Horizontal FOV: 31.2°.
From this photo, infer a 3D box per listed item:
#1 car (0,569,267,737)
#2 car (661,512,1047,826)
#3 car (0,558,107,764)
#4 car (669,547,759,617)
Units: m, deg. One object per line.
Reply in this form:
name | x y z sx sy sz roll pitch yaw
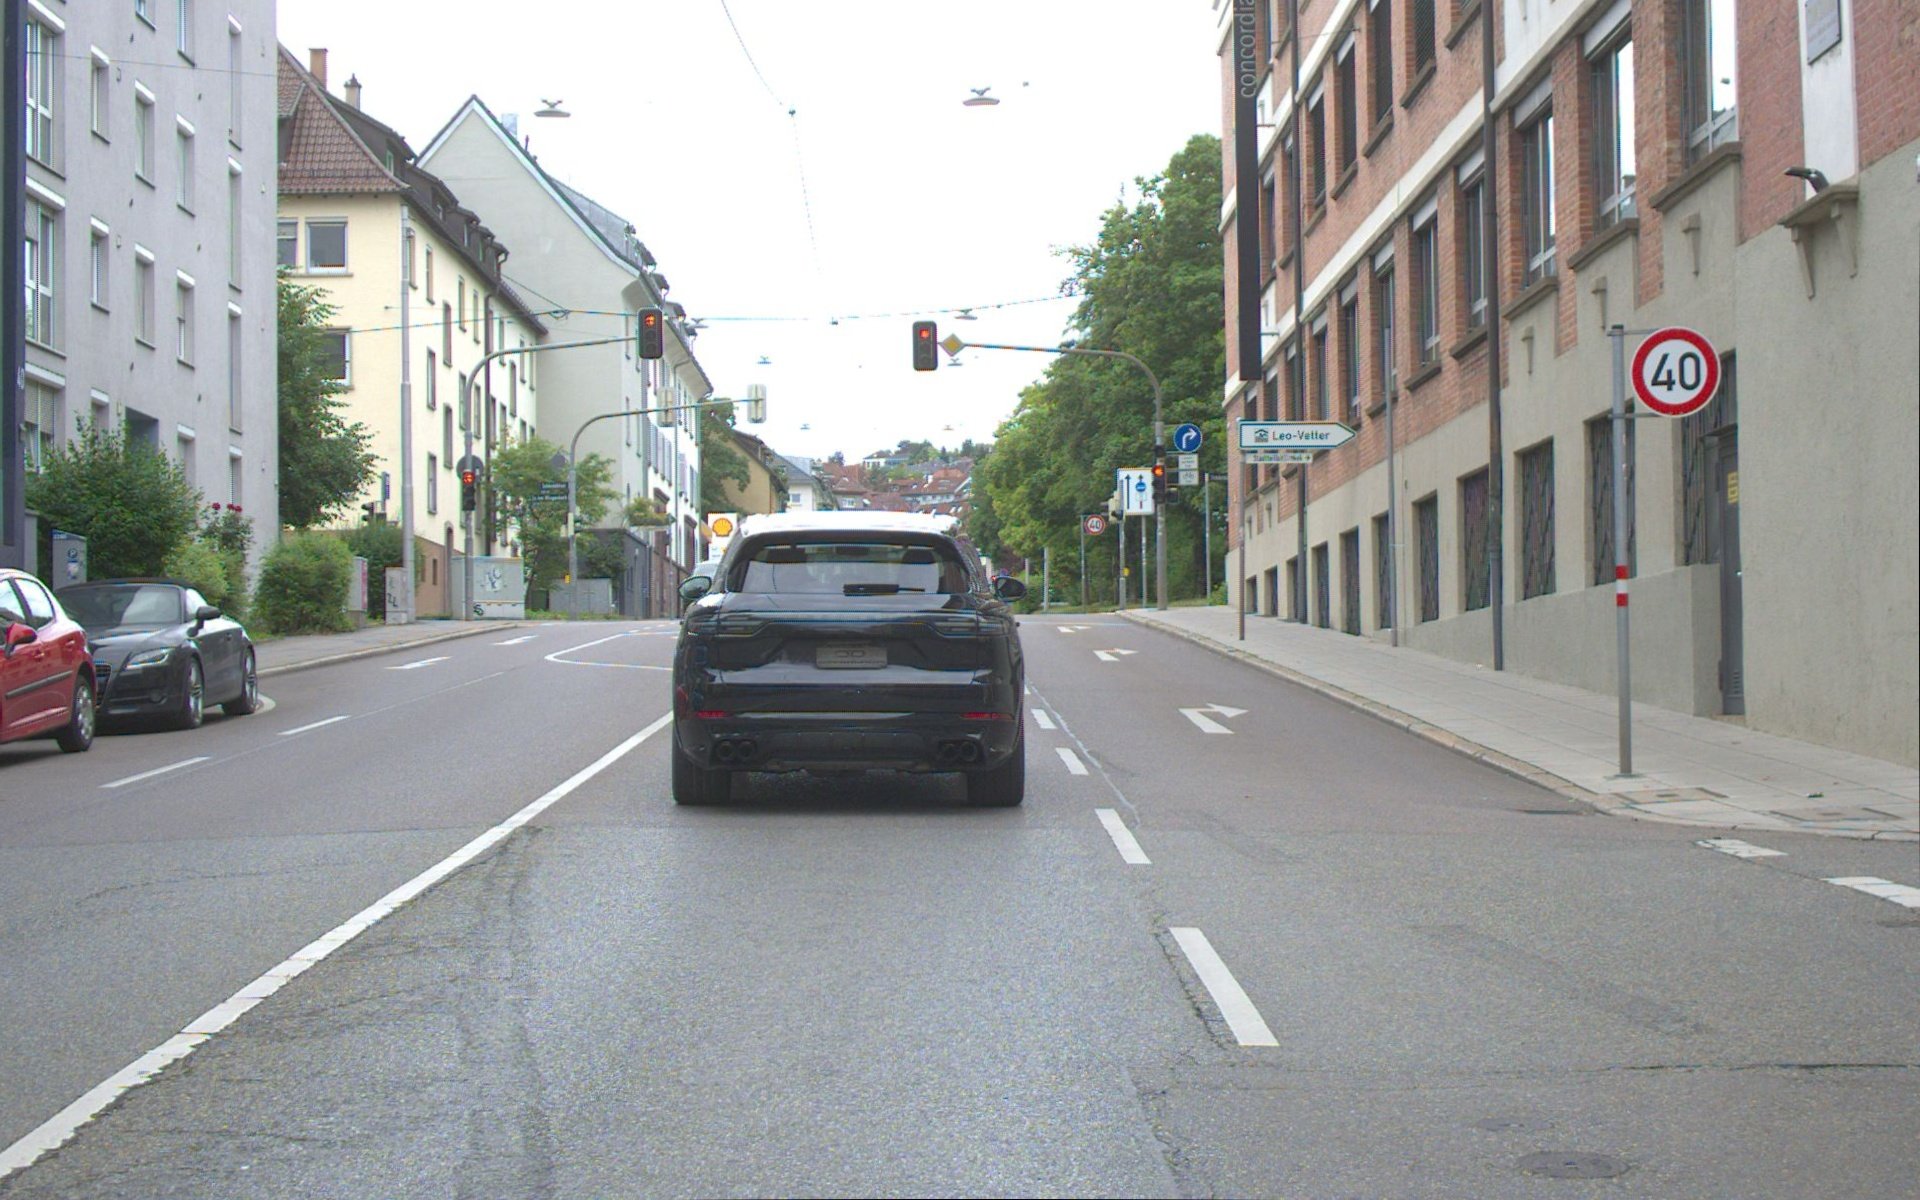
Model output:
car | -7.540 0.436 31.139 1.714 1.336 3.904 -2 1 -1
car | -0.724 0.344 20.488 2.024 1.636 4.357 1 1 -4
car | -7.715 0.462 25.416 1.714 1.451 3.989 -2 1 1
car | -6.385 -0.486 89.718 1.897 1.686 4.000 -3 1 1
